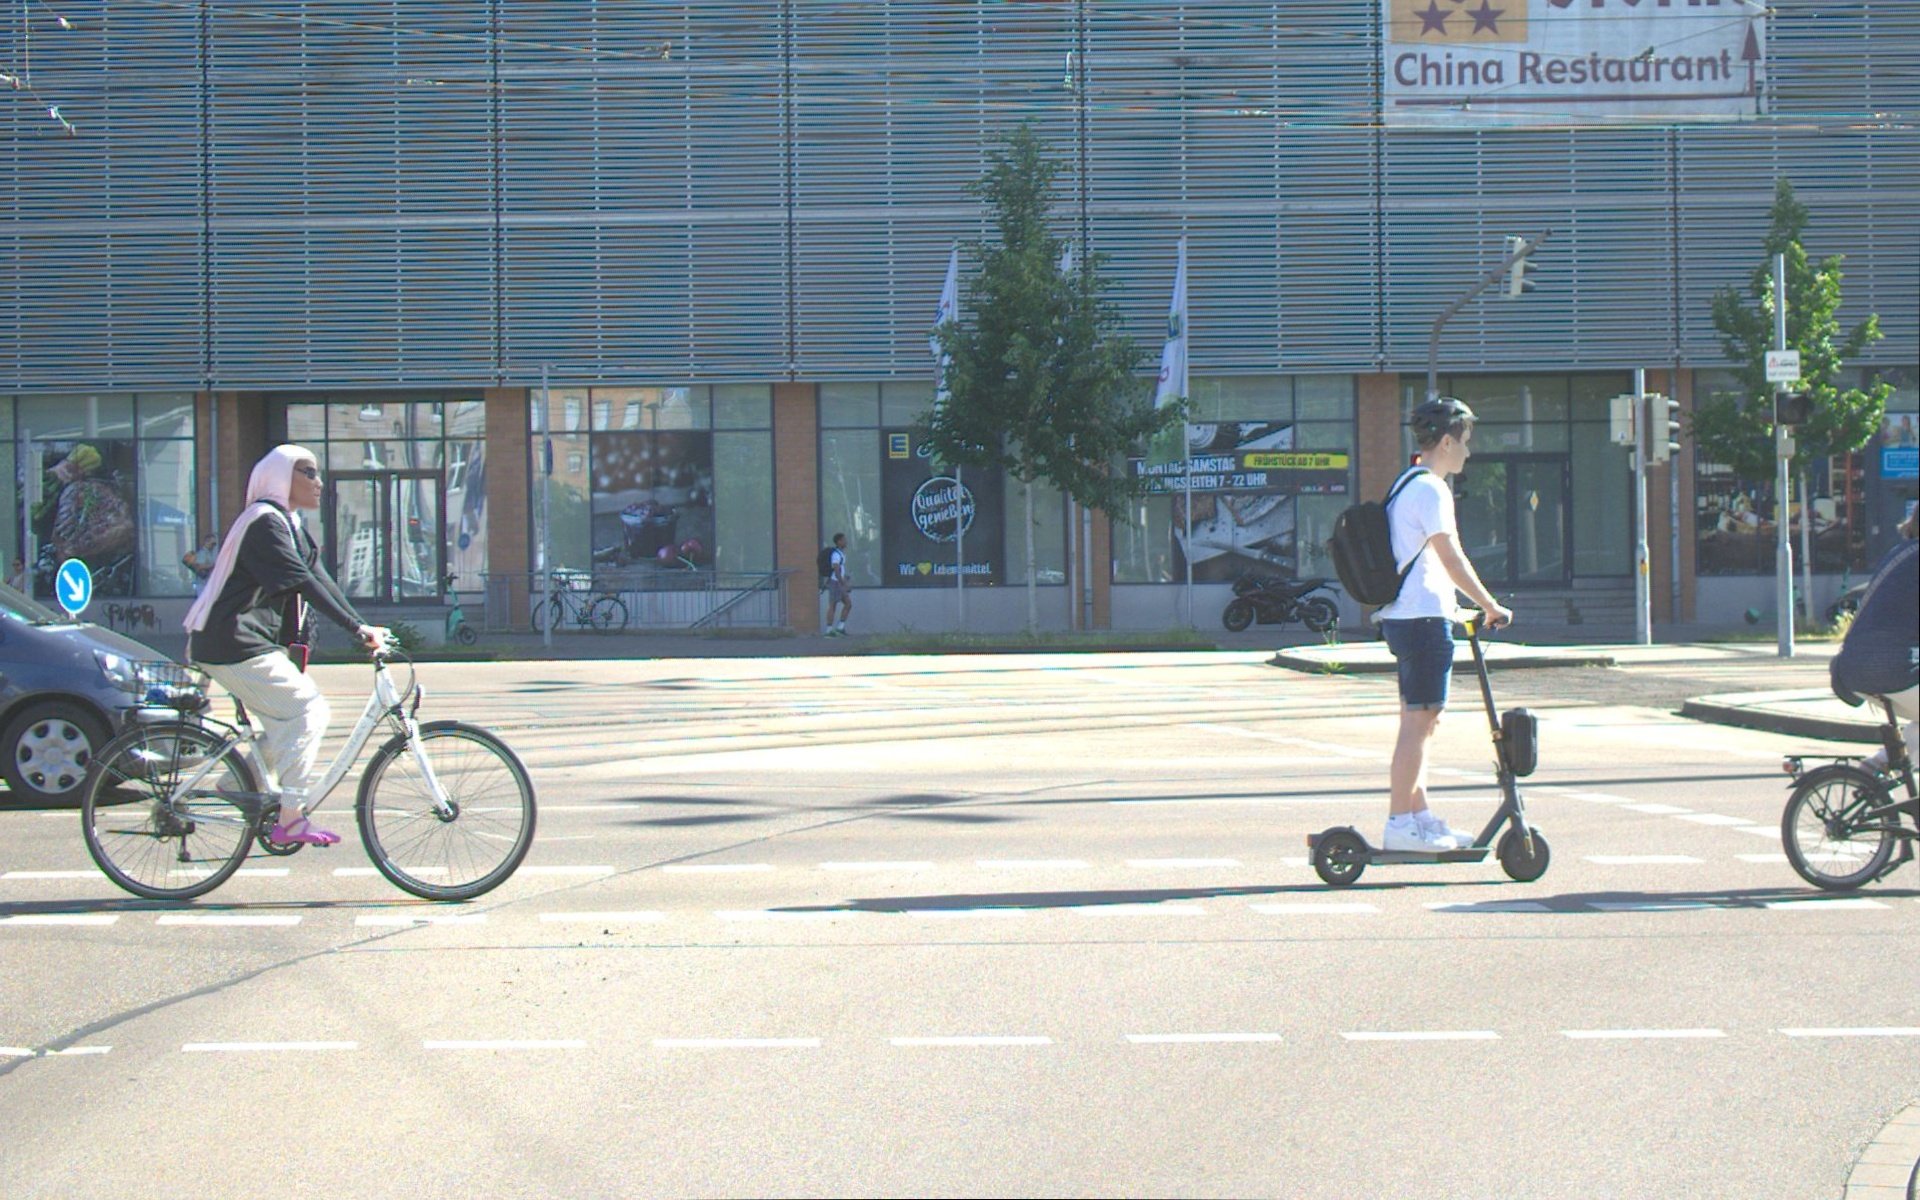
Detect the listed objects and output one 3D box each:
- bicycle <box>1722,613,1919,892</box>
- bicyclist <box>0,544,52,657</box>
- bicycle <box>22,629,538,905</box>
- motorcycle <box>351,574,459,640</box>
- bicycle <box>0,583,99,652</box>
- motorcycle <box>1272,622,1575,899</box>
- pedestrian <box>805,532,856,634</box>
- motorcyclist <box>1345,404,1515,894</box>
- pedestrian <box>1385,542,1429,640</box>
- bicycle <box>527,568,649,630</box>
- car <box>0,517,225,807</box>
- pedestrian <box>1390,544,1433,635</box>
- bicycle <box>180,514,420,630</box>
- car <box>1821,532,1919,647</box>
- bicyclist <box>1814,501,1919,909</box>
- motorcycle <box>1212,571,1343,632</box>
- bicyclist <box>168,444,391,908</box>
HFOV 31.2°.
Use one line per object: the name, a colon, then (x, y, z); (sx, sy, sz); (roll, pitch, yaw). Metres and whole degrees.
bicycle: (4.067, 0.635, 14.314); (1.576, 1.103, 0.734); (2, 1, -2)
bicyclist: (-15.121, 0.003, 55.003); (0.843, 1.797, 0.816); (-1, 1, -42)
bicycle: (-2.673, 0.649, 13.667); (1.925, 1.033, 0.694); (-1, 1, -3)
motorcycle: (-9.033, 0.113, 55.956); (1.652, 1.055, 0.497); (-1, 1, 9)
bicycle: (-15.080, 0.274, 55.097); (2.238, 1.067, 1.046); (-1, 1, -41)
motorcycle: (1.927, 0.661, 14.373); (1.186, 1.117, 0.483); (-1, 1, -1)
pedestrian: (-2.237, -0.296, 59.437); (0.848, 1.757, 0.620); (-1, 1, -1)
motorcyclist: (1.959, 0.198, 14.375); (0.628, 2.007, 0.497); (-1, 1, 0)
pedestrian: (7.086, -0.143, 54.470); (0.589, 1.529, 0.658); (-1, 1, -1)
bicycle: (-6.541, -0.021, 60.598); (2.026, 1.055, 1.145); (-1, 1, -1)
car: (-6.046, 0.314, 18.849); (3.751, 1.520, 1.823); (0, 1, -5)
pedestrian: (7.253, -0.170, 55.204); (0.589, 1.457, 0.658); (-1, 1, -1)
bicycle: (-11.660, -0.509, 60.845); (3.987, 2.007, 1.330); (0, 1, 0)
car: (13.863, -0.171, 45.637); (4.487, 1.489, 1.495); (-1, 1, 0)
bicyclist: (4.024, 0.416, 14.217); (0.782, 1.643, 0.690); (-1, 1, -2)
motorcycle: (5.614, 0.020, 60.884); (2.202, 1.039, 1.061); (0, 1, 0)
bicyclist: (-2.689, 0.288, 13.653); (0.763, 1.783, 0.763); (-1, 1, -4)
